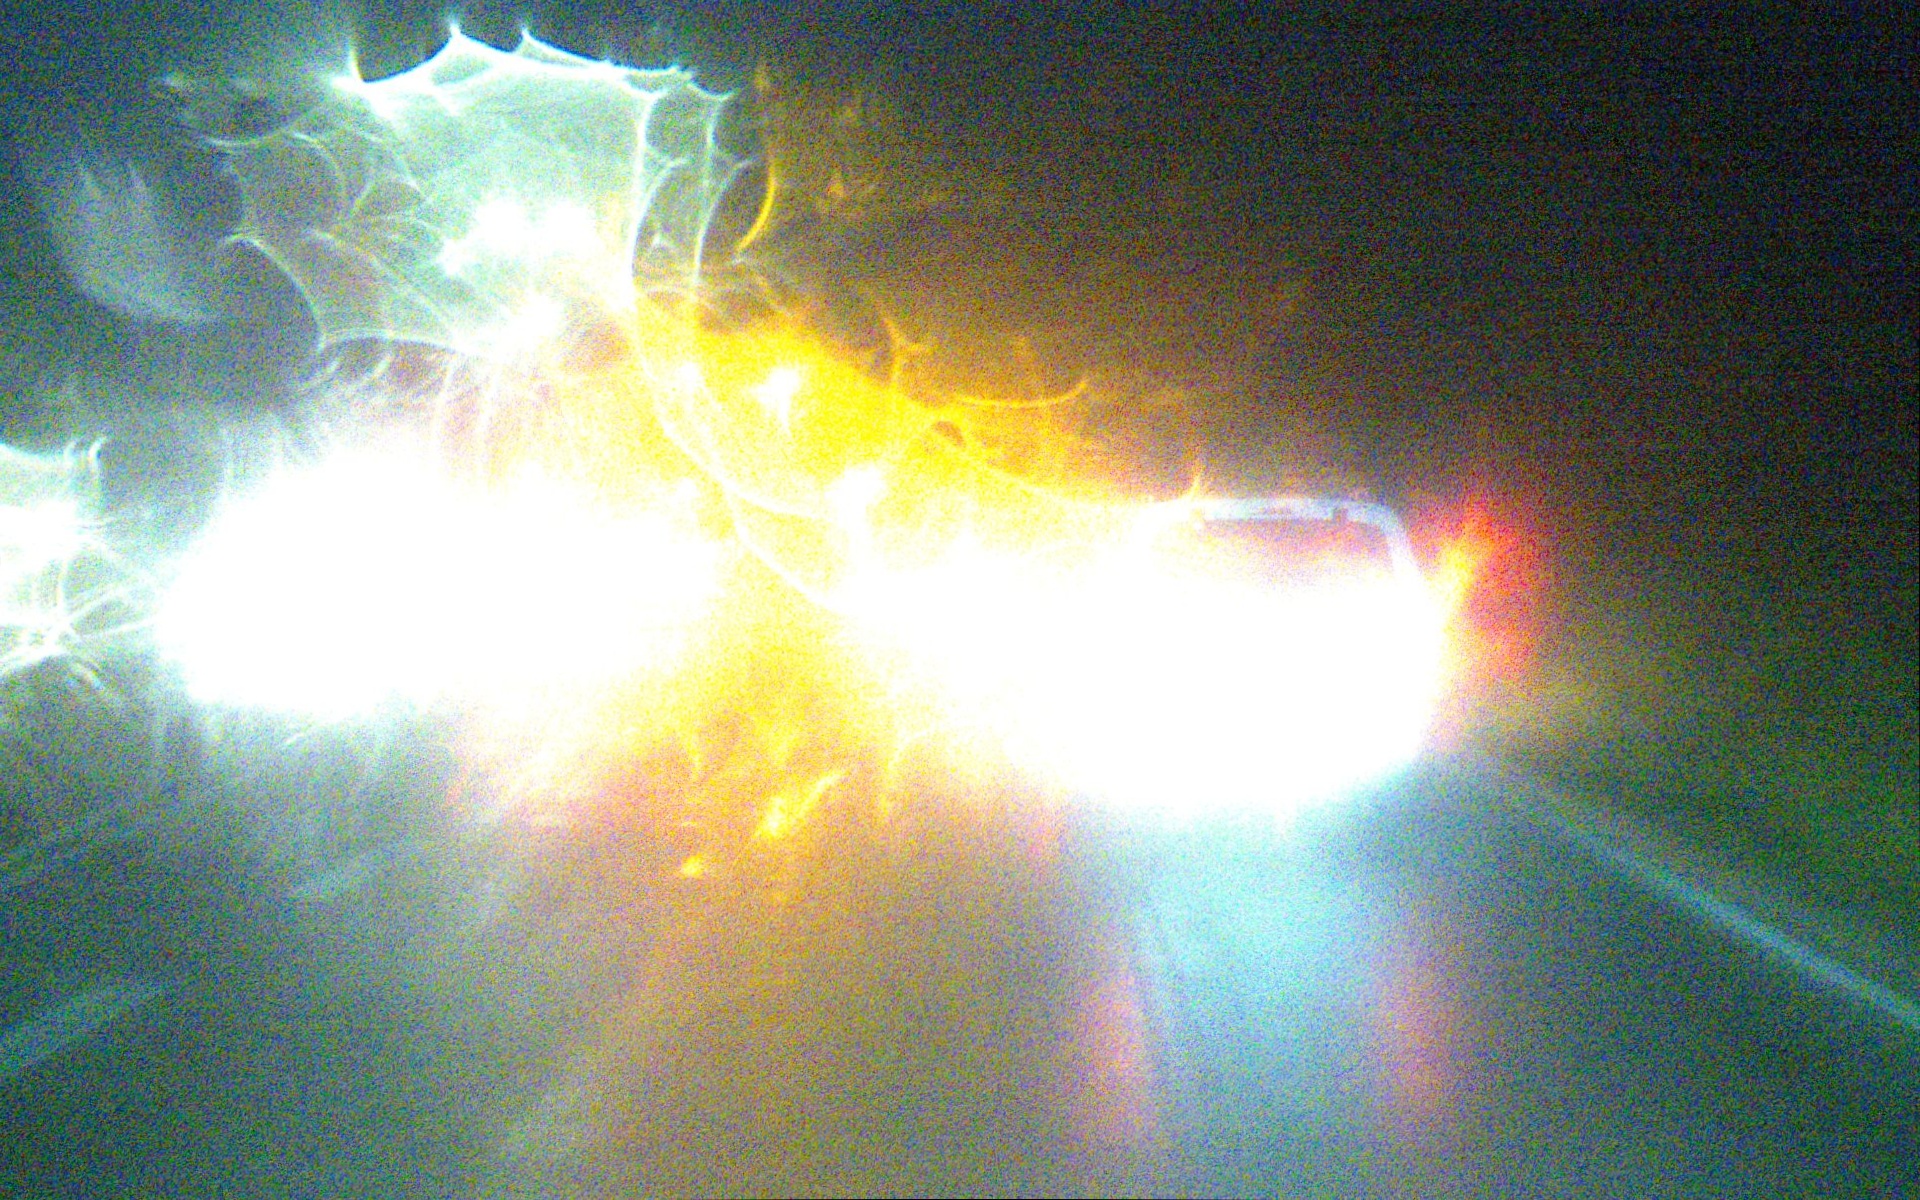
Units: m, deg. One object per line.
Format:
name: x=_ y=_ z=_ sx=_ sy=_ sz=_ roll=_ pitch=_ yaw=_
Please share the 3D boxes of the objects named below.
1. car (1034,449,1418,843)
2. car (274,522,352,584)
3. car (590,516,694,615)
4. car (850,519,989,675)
car: x=1.414 y=0.180 z=19.890 sx=1.791 sy=2.015 sz=4.580 roll=0 pitch=1 yaw=-1
car: x=-17.210 y=-1.233 z=91.541 sx=1.801 sy=1.582 sz=4.032 roll=1 pitch=0 yaw=-8
car: x=-5.975 y=-0.673 z=64.319 sx=1.783 sy=1.776 sz=4.437 roll=0 pitch=1 yaw=-7
car: x=-0.564 y=-0.097 z=46.719 sx=1.791 sy=2.015 sz=4.580 roll=0 pitch=1 yaw=-1
